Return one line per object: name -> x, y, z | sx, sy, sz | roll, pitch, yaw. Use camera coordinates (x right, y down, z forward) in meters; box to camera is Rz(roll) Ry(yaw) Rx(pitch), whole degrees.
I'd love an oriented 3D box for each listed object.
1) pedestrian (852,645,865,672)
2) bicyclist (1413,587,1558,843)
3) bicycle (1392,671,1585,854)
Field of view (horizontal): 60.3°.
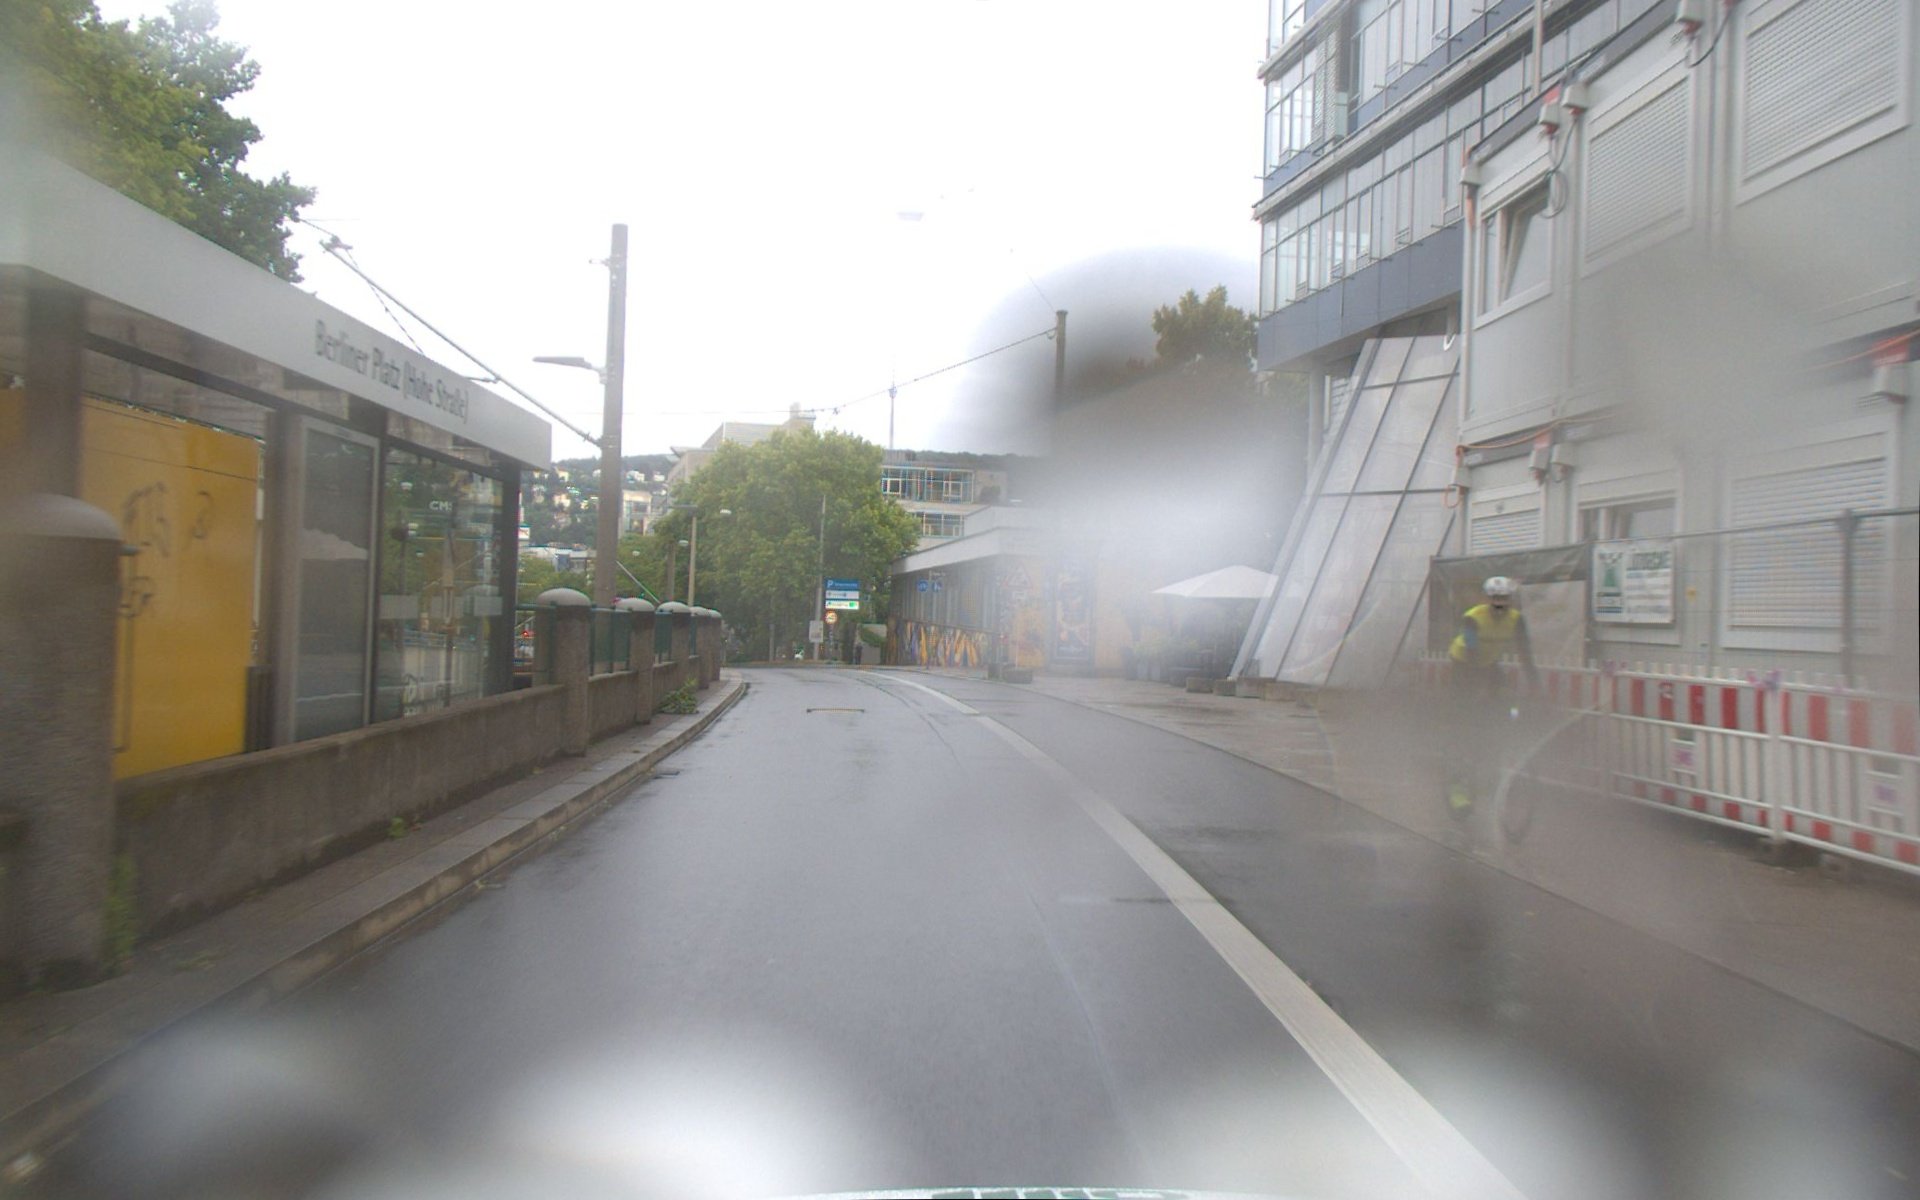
pedestrian -> -7.016, 4.068, 114.778 | 0.792, 1.897, 1.053 | 0, -2, -9
bicyclist -> 3.612, 0.771, 11.426 | 0.648, 1.667, 0.792 | -3, -1, -2
bicycle -> 3.612, 1.071, 11.492 | 0.648, 1.071, 2.056 | 0, 0, -1
